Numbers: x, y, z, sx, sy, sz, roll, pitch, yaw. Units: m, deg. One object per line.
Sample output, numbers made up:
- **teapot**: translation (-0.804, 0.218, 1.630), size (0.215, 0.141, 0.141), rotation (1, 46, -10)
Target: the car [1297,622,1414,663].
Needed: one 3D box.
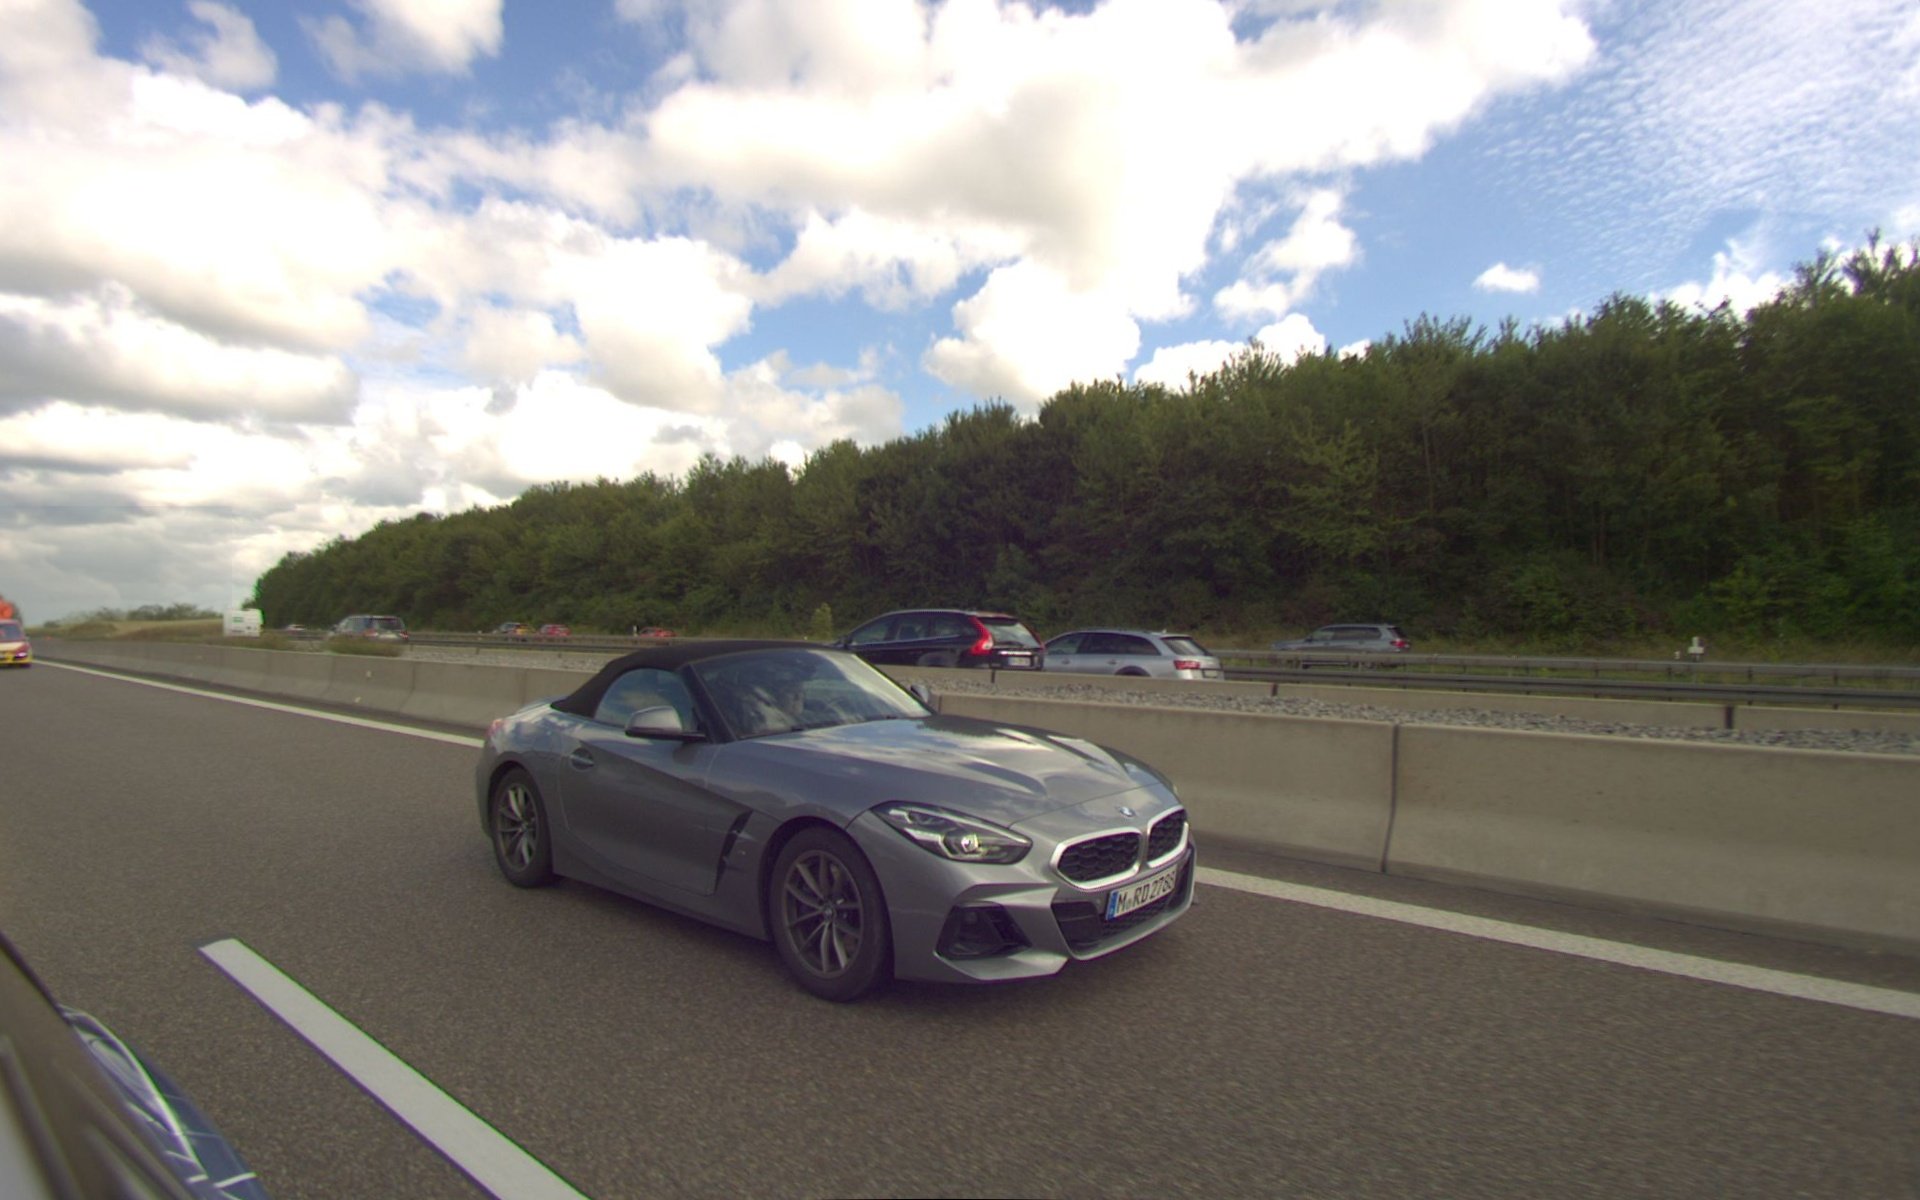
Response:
- **car**: translation (14.451, 1.527, 37.074), size (3.758, 1.437, 1.450), rotation (-1, -2, 41)

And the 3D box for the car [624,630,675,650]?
- **car**: translation (-22.402, 2.840, 72.984), size (4.049, 1.375, 1.547), rotation (-1, -2, 40)

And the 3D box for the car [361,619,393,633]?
- **car**: translation (-62.714, 2.764, 108.852), size (4.177, 1.506, 1.576), rotation (-1, -2, 40)

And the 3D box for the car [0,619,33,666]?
- **car**: translation (-28.654, 1.208, 29.558), size (4.244, 1.325, 1.788), rotation (-1, -3, 41)

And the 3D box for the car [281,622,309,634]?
- **car**: translation (-82.412, 3.475, 125.407), size (4.505, 1.506, 1.575), rotation (-1, -2, 40)

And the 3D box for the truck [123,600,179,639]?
- **truck**: translation (-69.815, 1.676, 87.287), size (7.820, 3.288, 2.329), rotation (-1, -2, 41)

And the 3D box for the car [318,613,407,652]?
- **car**: translation (-25.012, 1.327, 42.291), size (4.778, 1.573, 1.756), rotation (-1, -2, 40)

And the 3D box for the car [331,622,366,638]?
- **car**: translation (-56.435, 2.767, 93.439), size (4.049, 1.375, 1.547), rotation (-1, -2, 40)

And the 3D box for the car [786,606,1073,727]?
- **car**: translation (-0.588, 0.925, 15.735), size (4.462, 1.623, 1.753), rotation (-1, -1, 41)

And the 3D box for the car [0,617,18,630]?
- **car**: translation (-139.266, 3.424, 147.813), size (5.499, 1.799, 1.815), rotation (-1, -2, 40)

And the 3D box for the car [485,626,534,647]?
- **car**: translation (-31.818, 2.565, 71.407), size (4.049, 1.375, 1.547), rotation (-1, -2, 40)

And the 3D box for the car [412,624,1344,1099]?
- **car**: translation (-0.841, 0.798, 5.202), size (4.939, 1.312, 1.854), rotation (-1, -1, 41)

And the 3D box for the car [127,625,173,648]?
- **car**: translation (-55.863, 2.501, 69.788), size (4.049, 1.522, 1.719), rotation (-1, -2, 40)

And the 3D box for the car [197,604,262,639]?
- **car**: translation (-50.106, 1.489, 69.343), size (6.456, 2.288, 2.142), rotation (-1, -2, 40)

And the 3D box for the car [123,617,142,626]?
- **car**: translation (-138.523, 3.647, 169.369), size (4.320, 1.455, 1.641), rotation (-1, -2, 40)

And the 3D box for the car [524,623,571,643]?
- **car**: translation (-30.763, 2.437, 75.449), size (4.049, 1.375, 1.547), rotation (-1, -2, 40)

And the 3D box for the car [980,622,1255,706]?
- **car**: translation (2.714, 1.053, 18.189), size (4.672, 1.304, 1.752), rotation (-1, -1, 41)
